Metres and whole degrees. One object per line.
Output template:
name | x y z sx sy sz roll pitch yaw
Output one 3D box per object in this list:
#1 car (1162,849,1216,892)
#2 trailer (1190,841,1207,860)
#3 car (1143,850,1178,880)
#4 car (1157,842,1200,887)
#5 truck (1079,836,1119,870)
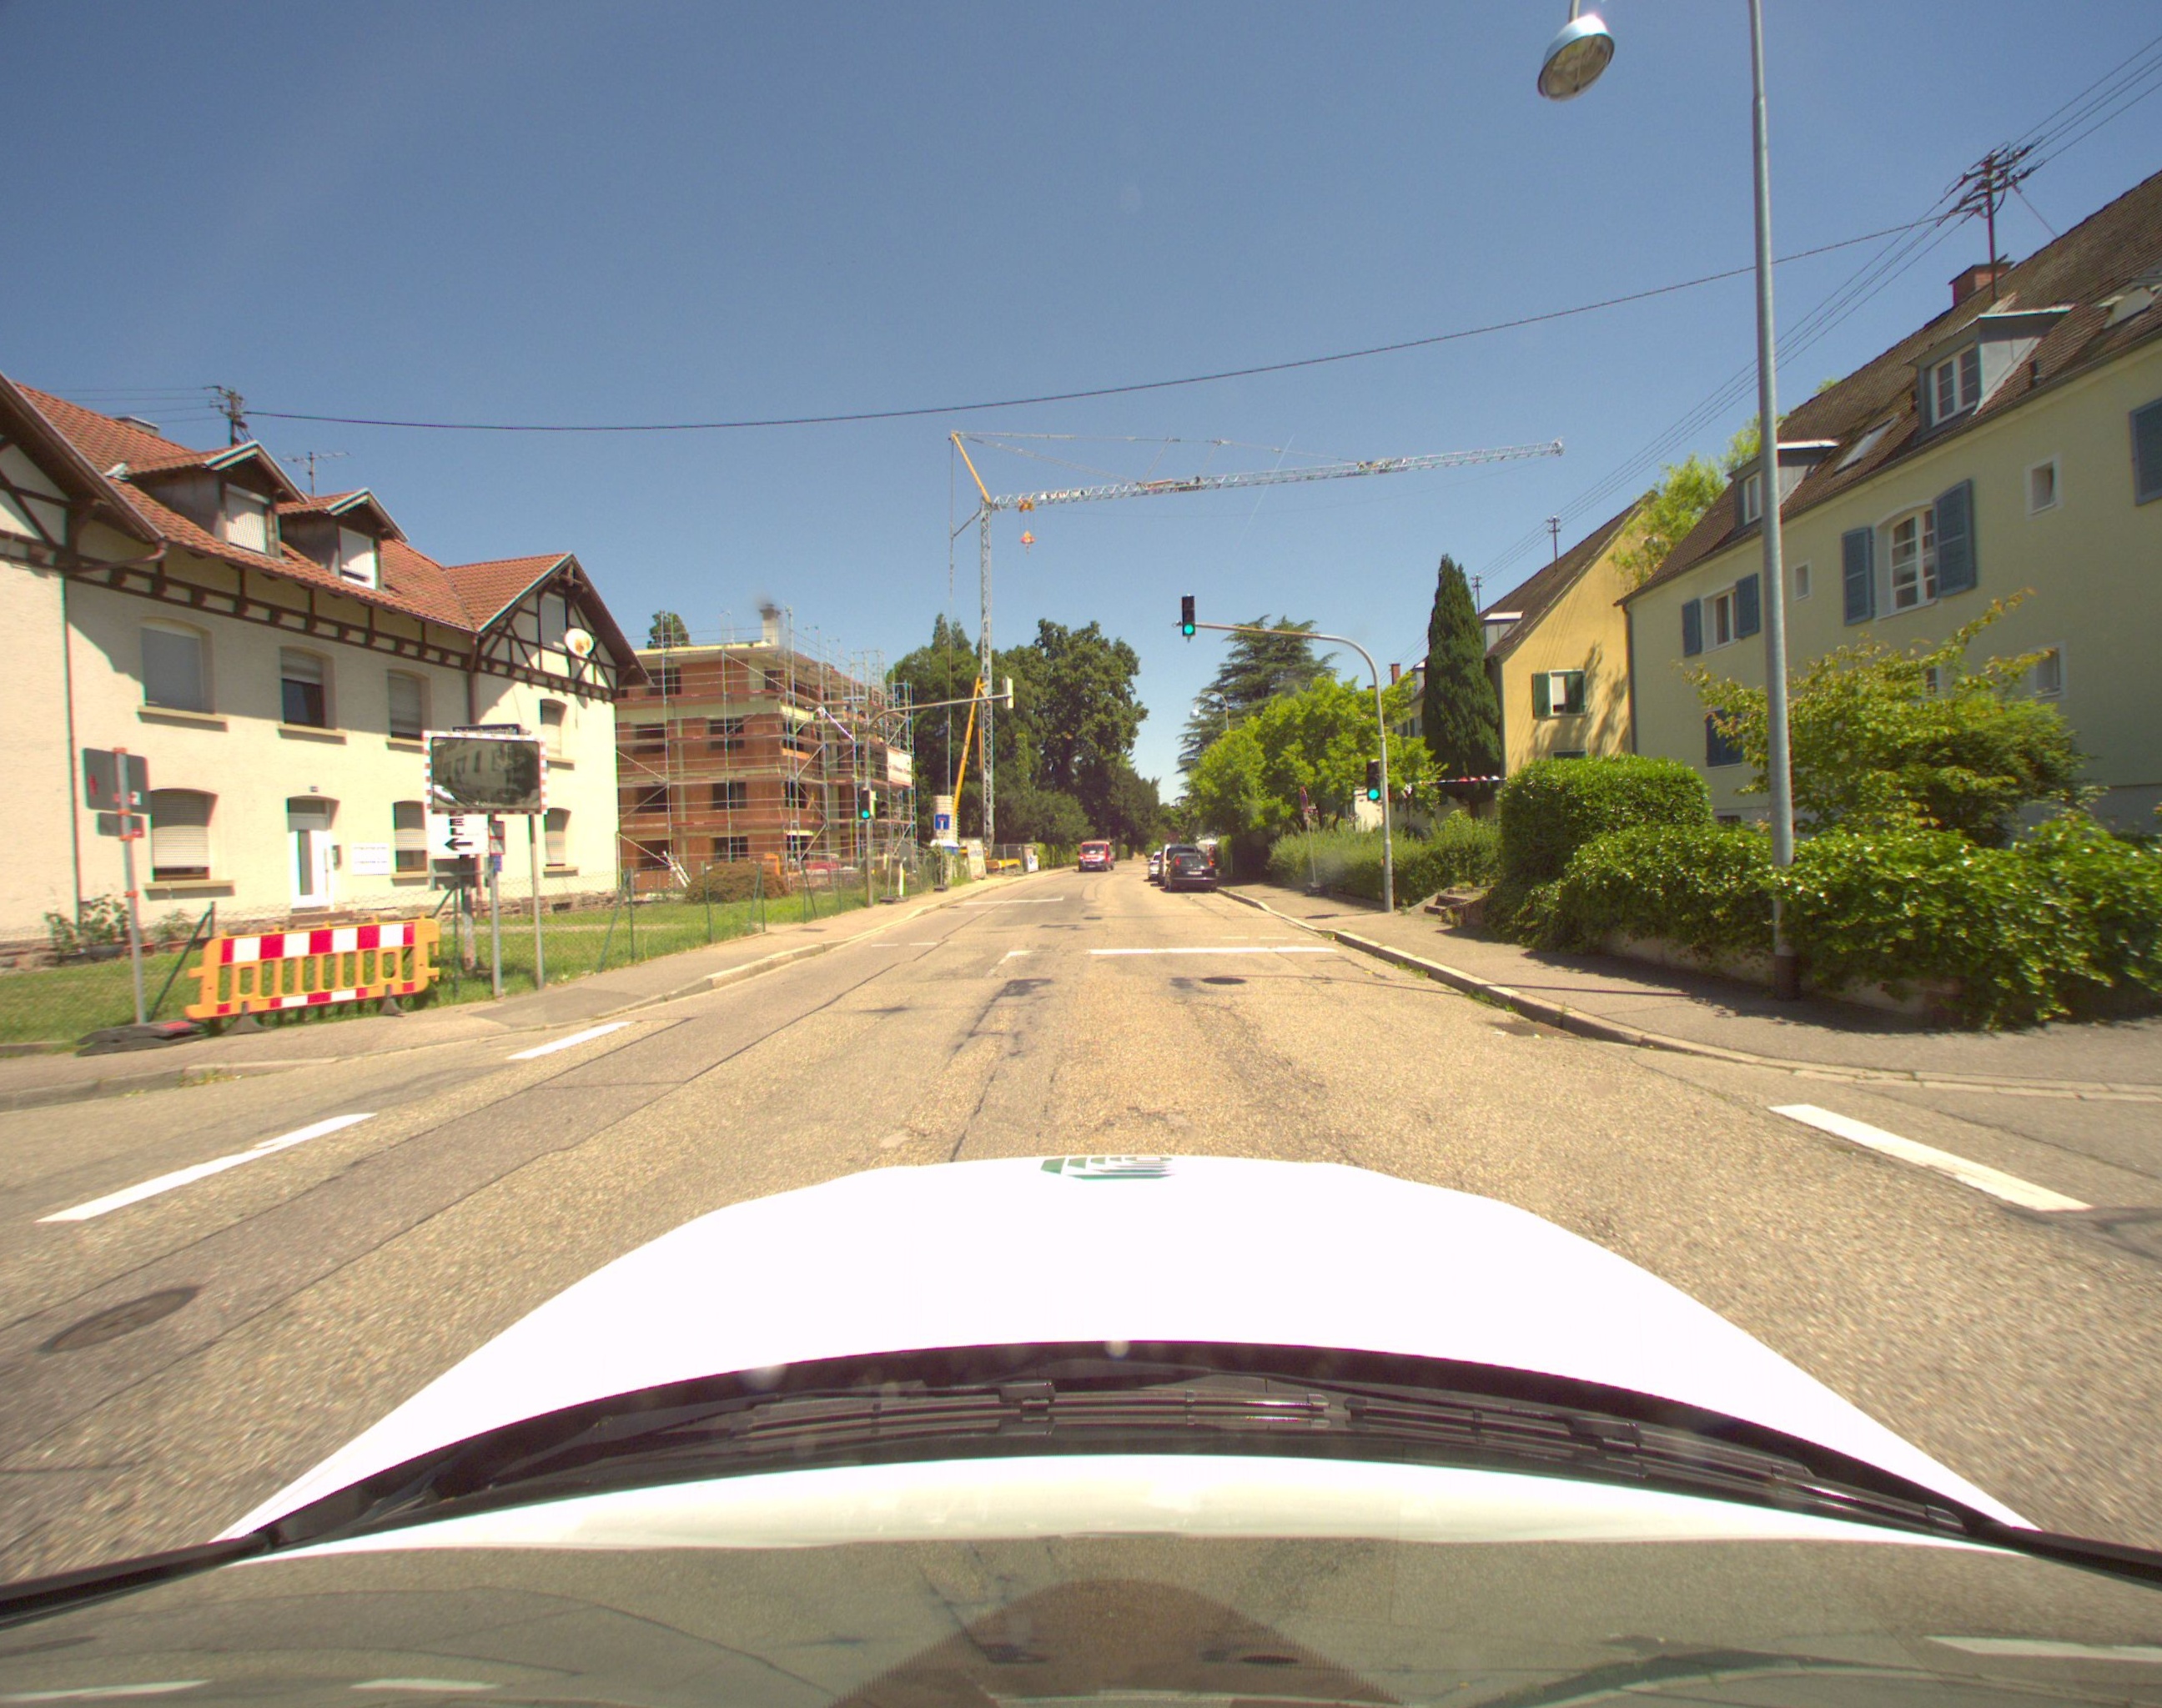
car | 3.998 0.568 30.708 1.622 1.463 4.019 1 0 2
trailer | 13.026 -0.424 89.834 1.669 2.067 3.720 0 1 11
car | 4.015 0.532 40.928 1.653 1.435 4.136 0 0 6
car | 4.190 0.414 35.498 1.654 1.803 4.208 1 0 4
truck | 1.397 -0.098 60.035 2.115 2.338 6.450 -1 0 8
